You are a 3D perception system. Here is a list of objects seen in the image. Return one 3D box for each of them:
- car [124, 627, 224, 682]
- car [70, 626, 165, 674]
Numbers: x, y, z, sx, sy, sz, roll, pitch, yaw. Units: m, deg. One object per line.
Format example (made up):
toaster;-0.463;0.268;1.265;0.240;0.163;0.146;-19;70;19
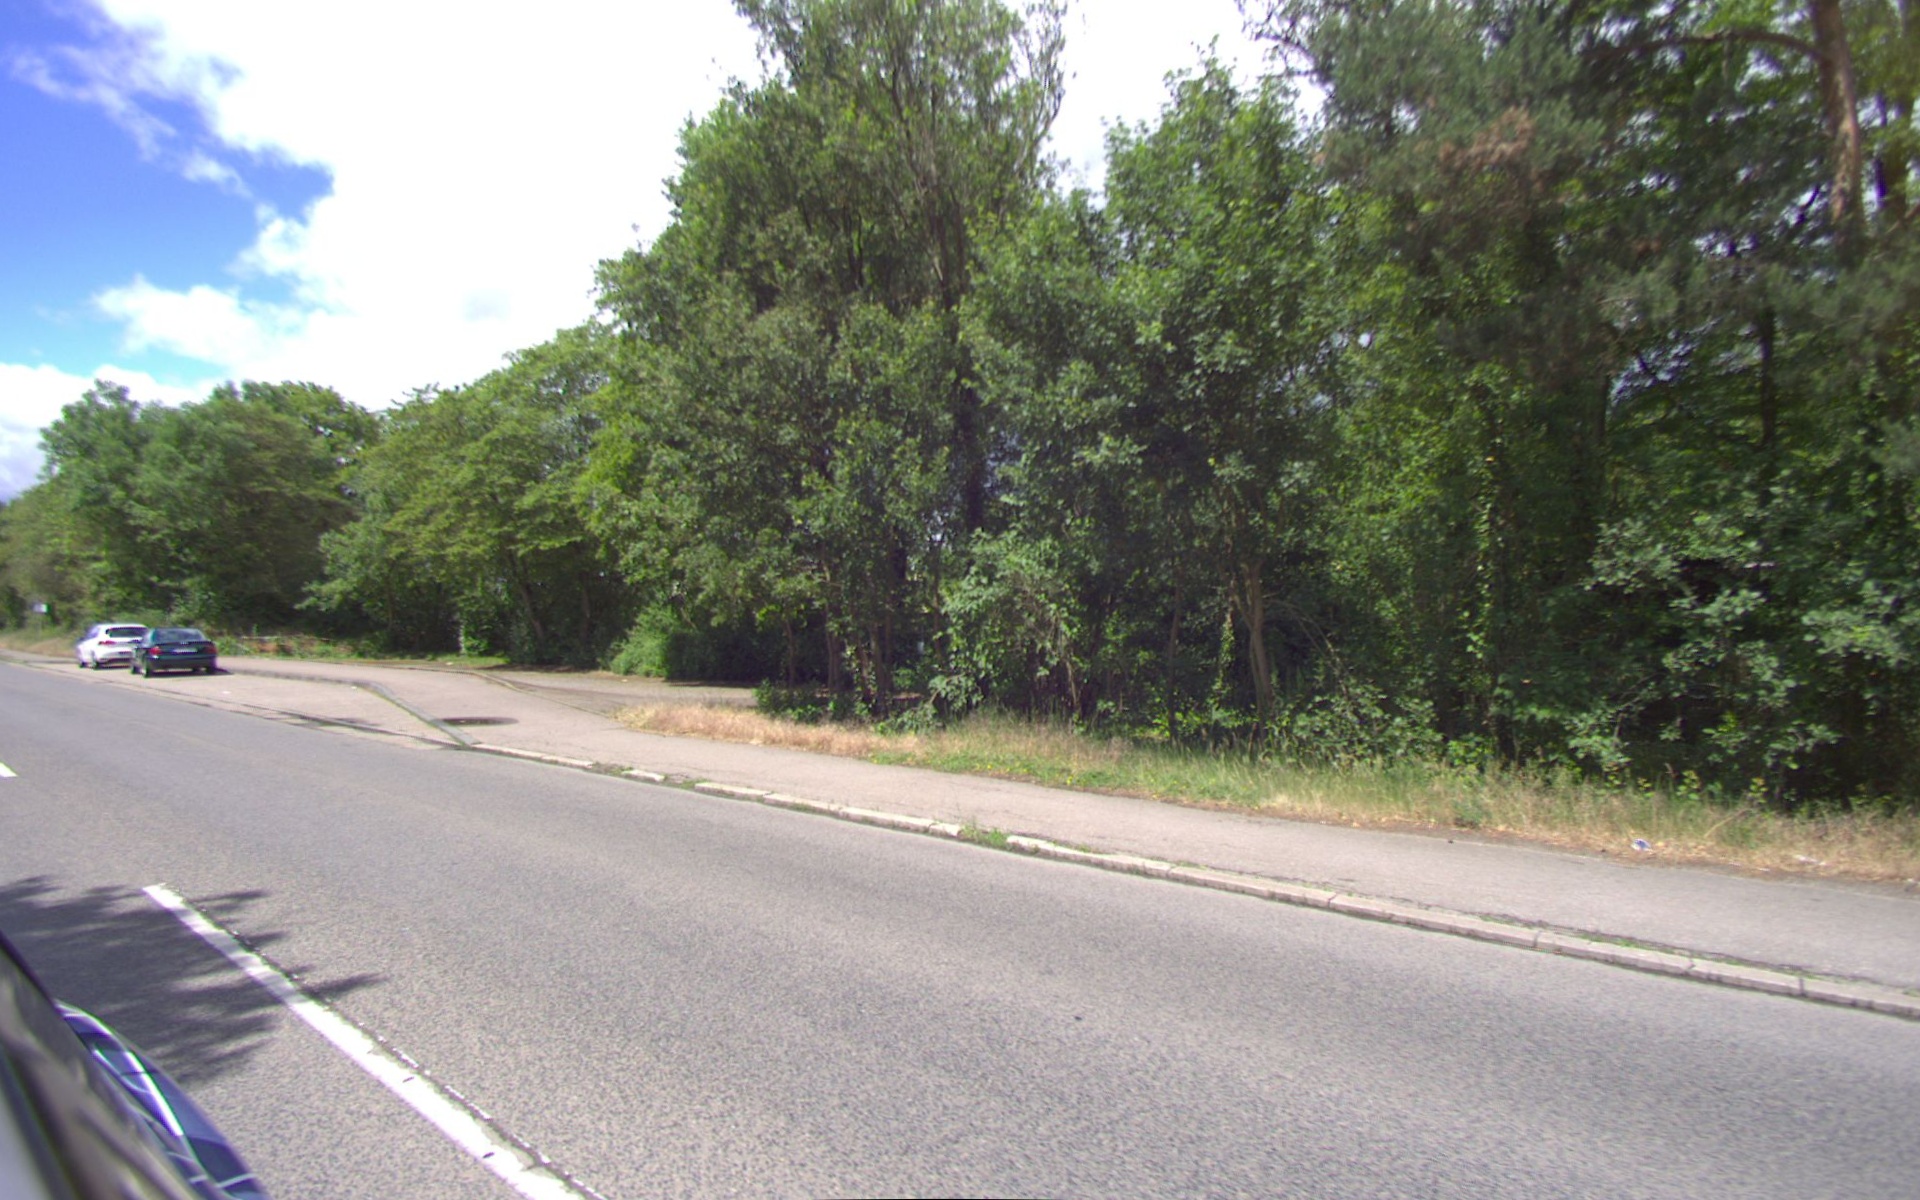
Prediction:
car;-23.360;1.551;30.017;4.266;1.418;1.748;-1;0;44
car;-28.898;1.652;34.691;4.242;1.481;1.750;-1;0;40
